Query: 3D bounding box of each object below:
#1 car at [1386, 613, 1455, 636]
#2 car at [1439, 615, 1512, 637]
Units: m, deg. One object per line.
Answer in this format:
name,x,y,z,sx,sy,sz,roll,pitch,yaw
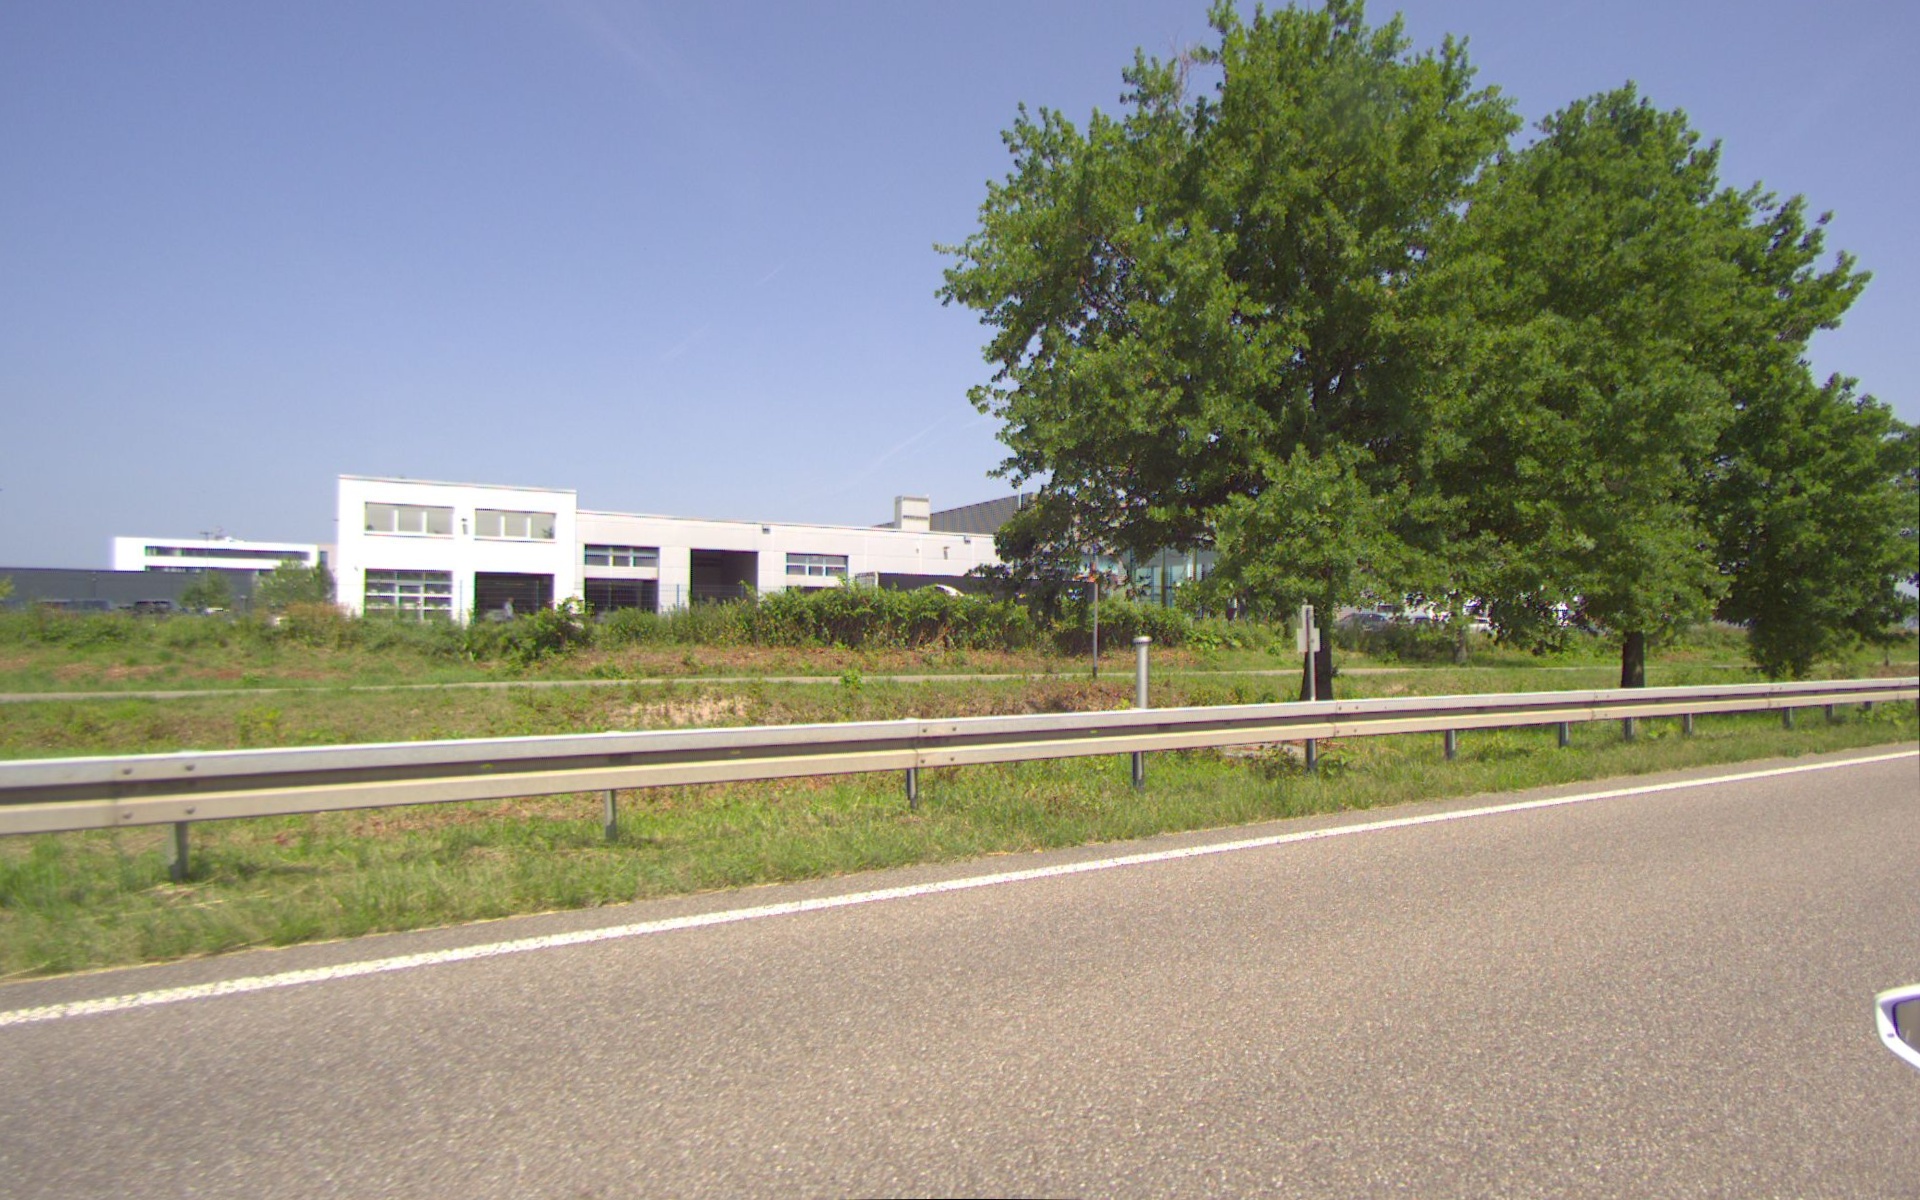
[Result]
car,30.268,1.636,65.994,4.608,1.456,1.740,1,-3,-29
car,35.393,1.804,69.063,1.608,1.456,4.199,2,-3,-35
